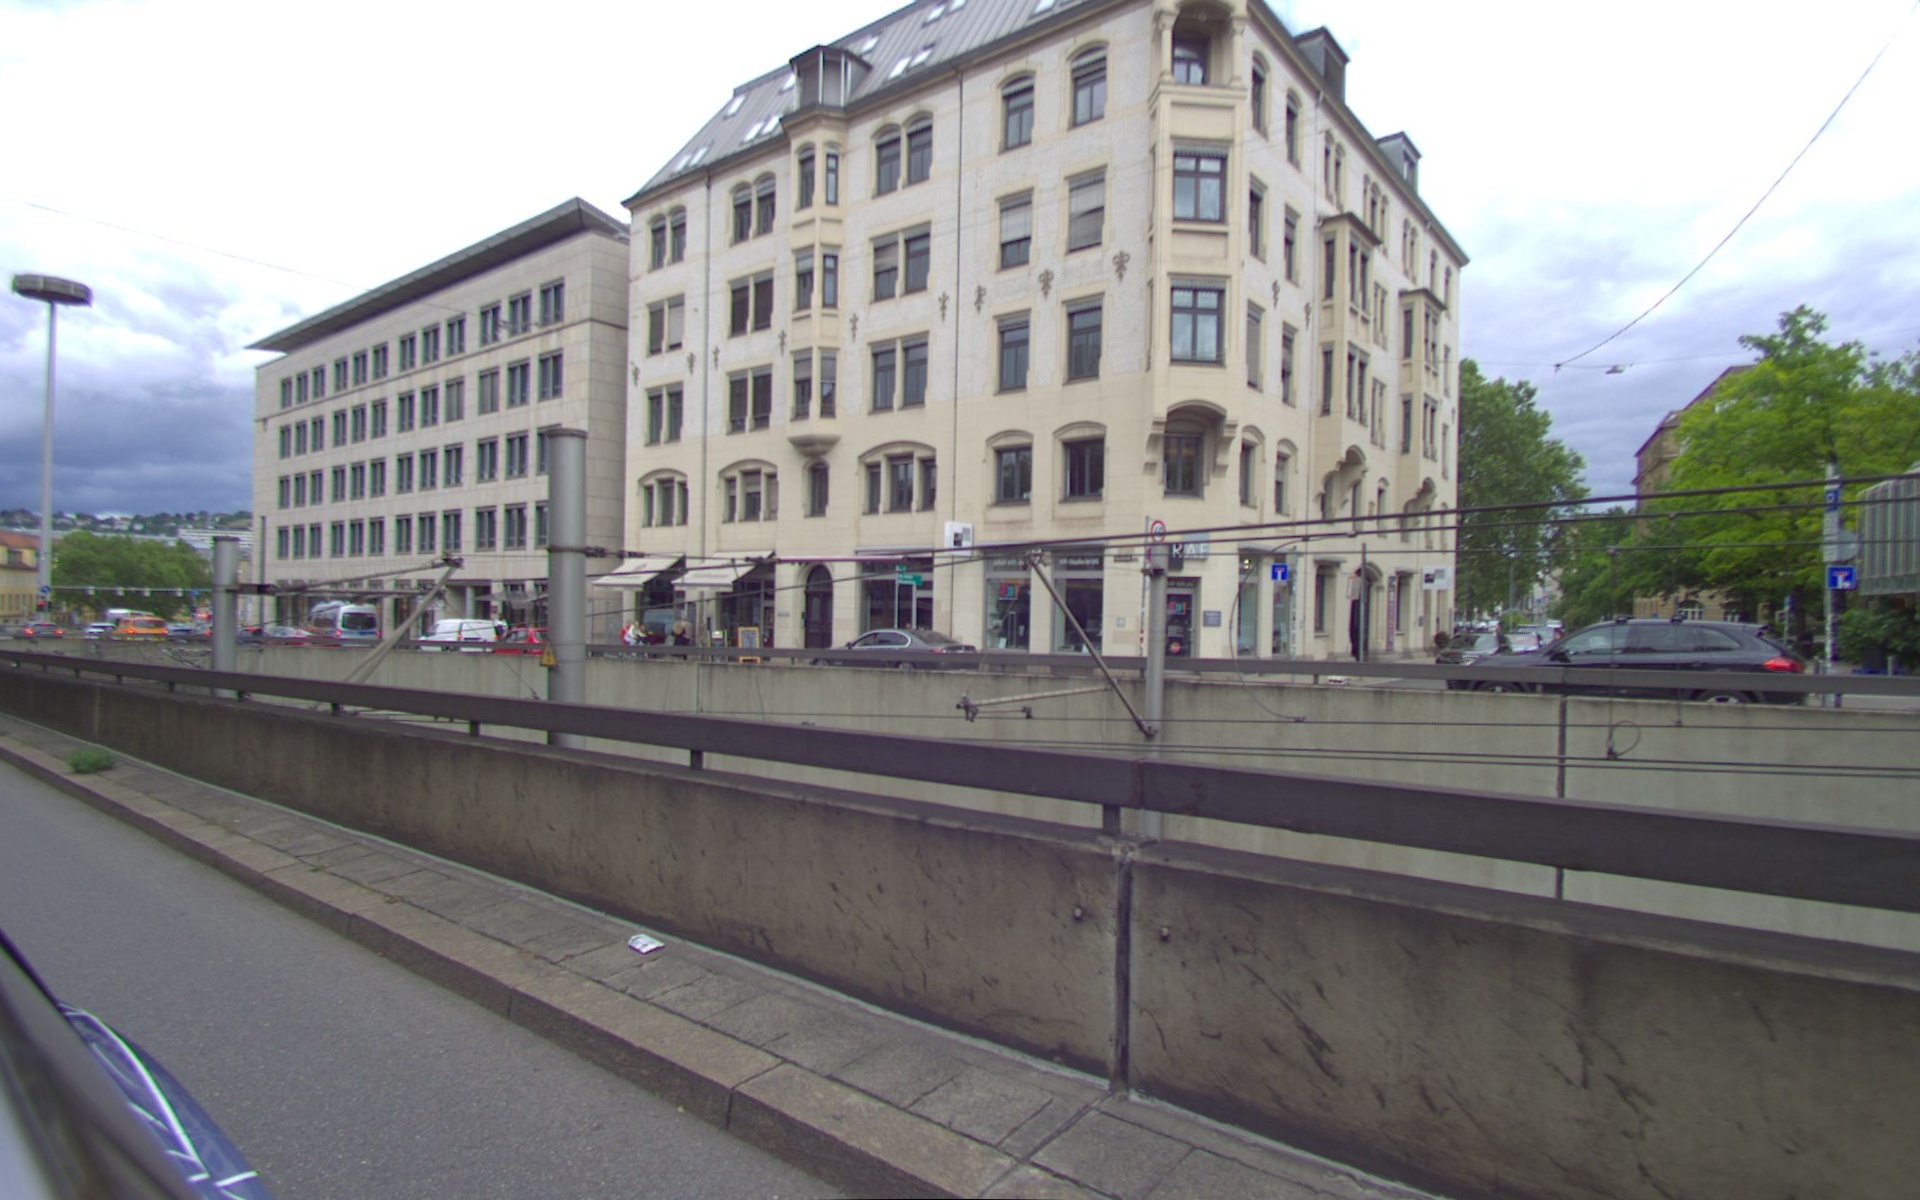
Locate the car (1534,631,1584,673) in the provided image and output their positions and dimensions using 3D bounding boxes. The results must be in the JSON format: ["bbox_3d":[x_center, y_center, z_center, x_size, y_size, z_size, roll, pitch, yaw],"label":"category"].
[{"bbox_3d":[25.657,2.181,43.318,1.646,1.674,3.558,-1,-2,34],"label":"car"}]

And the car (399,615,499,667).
[{"bbox_3d":[-21.302,1.653,42.131,4.786,2.029,1.973,-1,0,40],"label":"car"}]

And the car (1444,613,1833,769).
[{"bbox_3d":[10.383,1.242,15.759,4.786,2.029,1.973,-1,0,40],"label":"car"}]

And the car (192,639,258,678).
[{"bbox_3d":[-42.670,3.338,58.699,4.786,2.029,1.973,-1,0,40],"label":"car"}]

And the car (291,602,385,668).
[{"bbox_3d":[-30.718,1.670,49.951,5.465,3.083,2.340,-1,0,40],"label":"car"}]

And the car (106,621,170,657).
[{"bbox_3d":[-49.428,2.312,60.824,4.786,2.029,2.088,-1,0,40],"label":"car"}]

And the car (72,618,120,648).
[{"bbox_3d":[-59.599,2.261,69.793,3.998,2.029,1.973,-1,-2,41],"label":"car"}]

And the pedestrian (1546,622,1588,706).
[{"bbox_3d":[12.723,1.320,21.240,0.684,1.724,0.705,-2,-2,29],"label":"pedestrian"}]

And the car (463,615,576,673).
[{"bbox_3d":[-16.664,1.593,38.172,4.786,2.029,1.973,-1,0,40],"label":"car"}]

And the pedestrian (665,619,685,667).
[{"bbox_3d":[-10.628,1.598,37.737,0.568,1.793,0.512,1,-1,-43],"label":"pedestrian"}]

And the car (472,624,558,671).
[{"bbox_3d":[-20.267,2.117,46.039,3.996,2.029,1.973,-1,-2,40],"label":"car"}]

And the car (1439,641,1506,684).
[{"bbox_3d":[16.849,2.007,33.191,1.645,1.243,3.560,-1,-2,32],"label":"car"}]

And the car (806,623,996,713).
[{"bbox_3d":[-1.575,1.632,25.794,4.786,2.029,1.973,-1,0,40],"label":"car"}]

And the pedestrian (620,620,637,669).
[{"bbox_3d":[-12.228,1.647,37.359,0.502,1.793,0.579,0,-1,-26],"label":"pedestrian"}]

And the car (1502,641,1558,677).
[{"bbox_3d":[21.245,2.162,37.677,1.431,1.204,3.556,-1,-2,36],"label":"car"}]

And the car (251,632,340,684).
[{"bbox_3d":[-29.221,2.492,44.465,4.786,2.029,1.973,-1,0,40],"label":"car"}]

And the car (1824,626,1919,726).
[{"bbox_3d":[17.176,1.326,18.633,1.647,1.674,3.604,-1,-2,37],"label":"car"}]

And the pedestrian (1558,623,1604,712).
[{"bbox_3d":[12.291,1.326,20.054,0.684,1.724,0.705,-2,-2,29],"label":"pedestrian"}]

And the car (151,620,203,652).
[{"bbox_3d":[-51.670,2.340,66.769,3.998,2.029,1.973,-1,-2,41],"label":"car"}]

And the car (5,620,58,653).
[{"bbox_3d":[-57.970,2.268,63.178,3.998,2.029,1.973,-1,-2,41],"label":"car"}]
